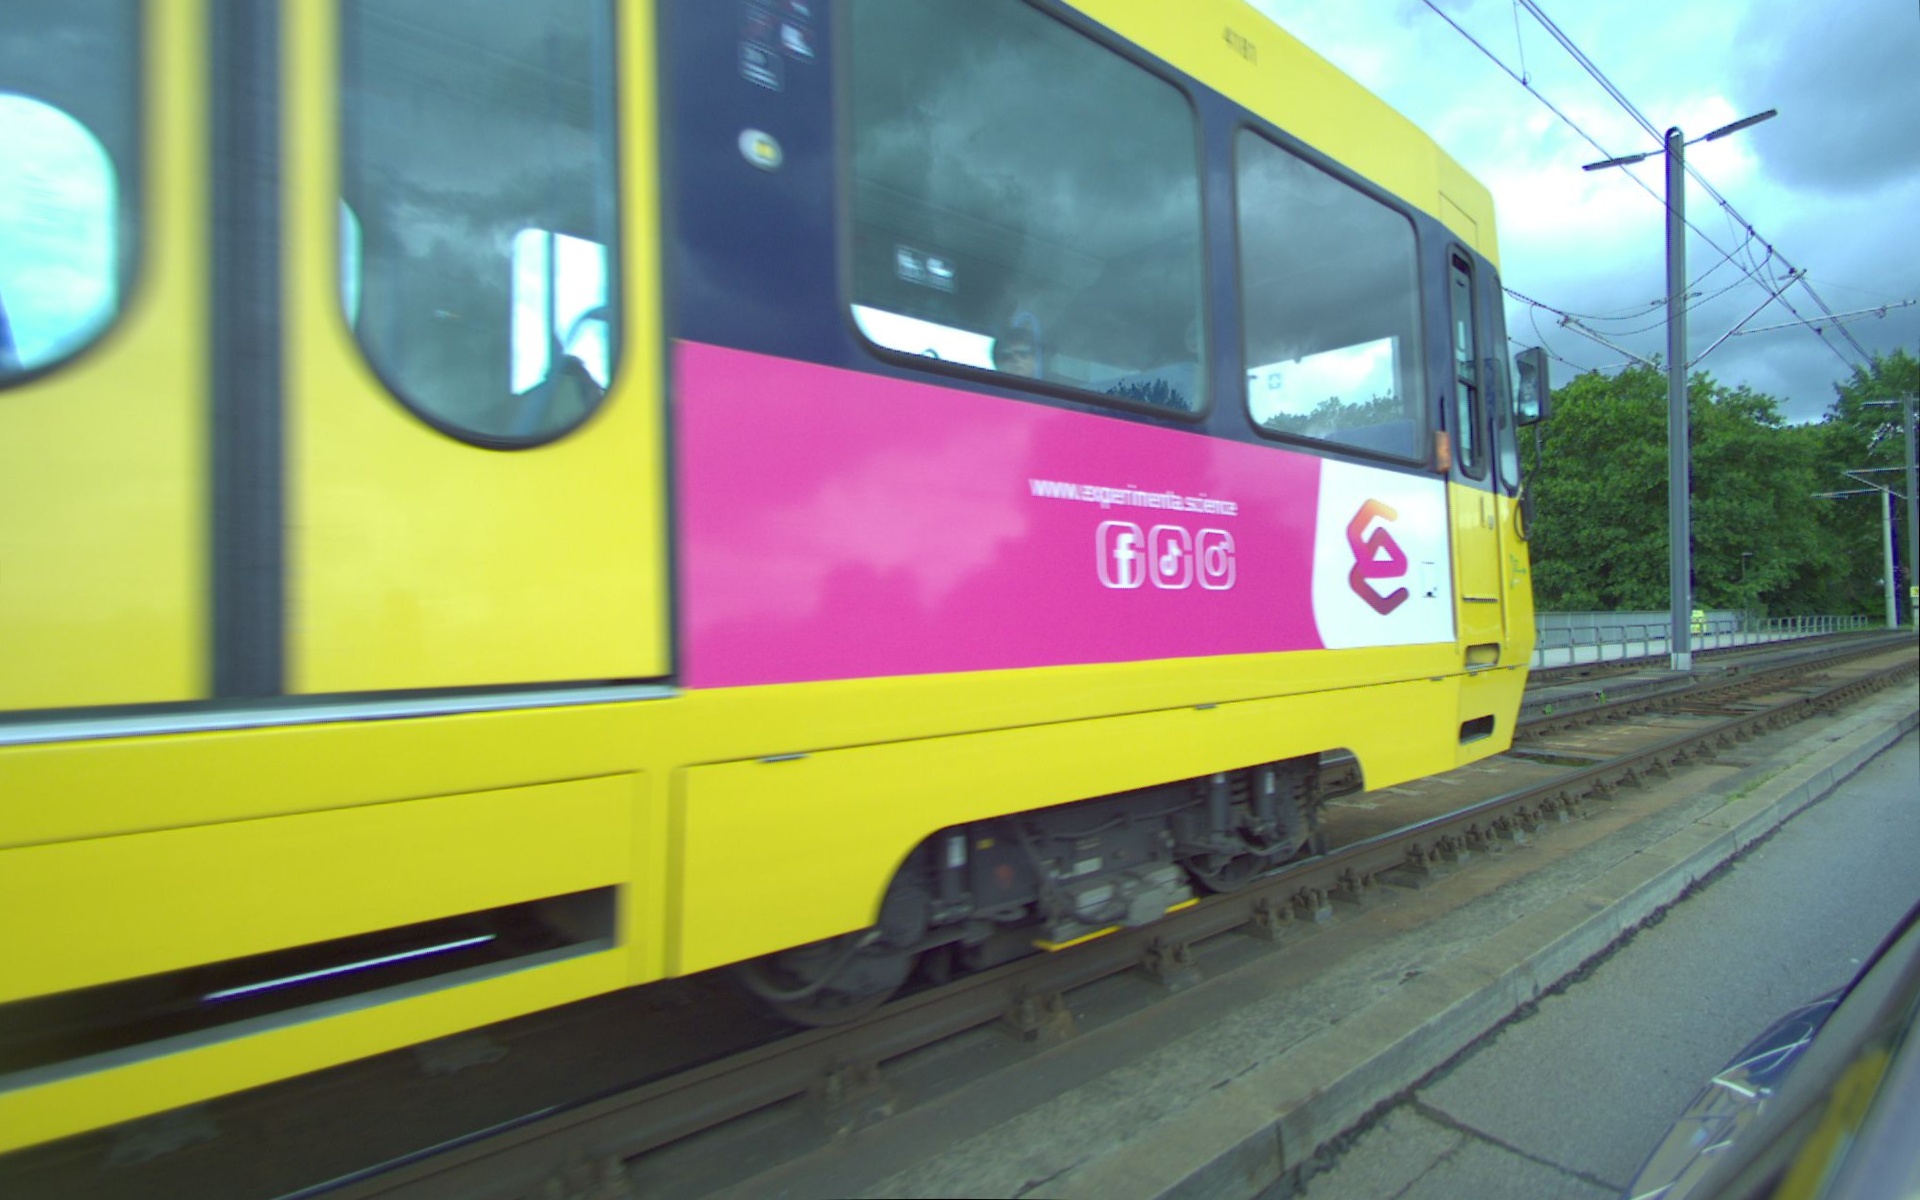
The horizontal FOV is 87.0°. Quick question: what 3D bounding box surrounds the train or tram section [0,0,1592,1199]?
[{"bbox_3d":[-4.493,-0.446,0.266,18.344,3.553,2.887,0,1,-42],"label":"train or tram section"}]
